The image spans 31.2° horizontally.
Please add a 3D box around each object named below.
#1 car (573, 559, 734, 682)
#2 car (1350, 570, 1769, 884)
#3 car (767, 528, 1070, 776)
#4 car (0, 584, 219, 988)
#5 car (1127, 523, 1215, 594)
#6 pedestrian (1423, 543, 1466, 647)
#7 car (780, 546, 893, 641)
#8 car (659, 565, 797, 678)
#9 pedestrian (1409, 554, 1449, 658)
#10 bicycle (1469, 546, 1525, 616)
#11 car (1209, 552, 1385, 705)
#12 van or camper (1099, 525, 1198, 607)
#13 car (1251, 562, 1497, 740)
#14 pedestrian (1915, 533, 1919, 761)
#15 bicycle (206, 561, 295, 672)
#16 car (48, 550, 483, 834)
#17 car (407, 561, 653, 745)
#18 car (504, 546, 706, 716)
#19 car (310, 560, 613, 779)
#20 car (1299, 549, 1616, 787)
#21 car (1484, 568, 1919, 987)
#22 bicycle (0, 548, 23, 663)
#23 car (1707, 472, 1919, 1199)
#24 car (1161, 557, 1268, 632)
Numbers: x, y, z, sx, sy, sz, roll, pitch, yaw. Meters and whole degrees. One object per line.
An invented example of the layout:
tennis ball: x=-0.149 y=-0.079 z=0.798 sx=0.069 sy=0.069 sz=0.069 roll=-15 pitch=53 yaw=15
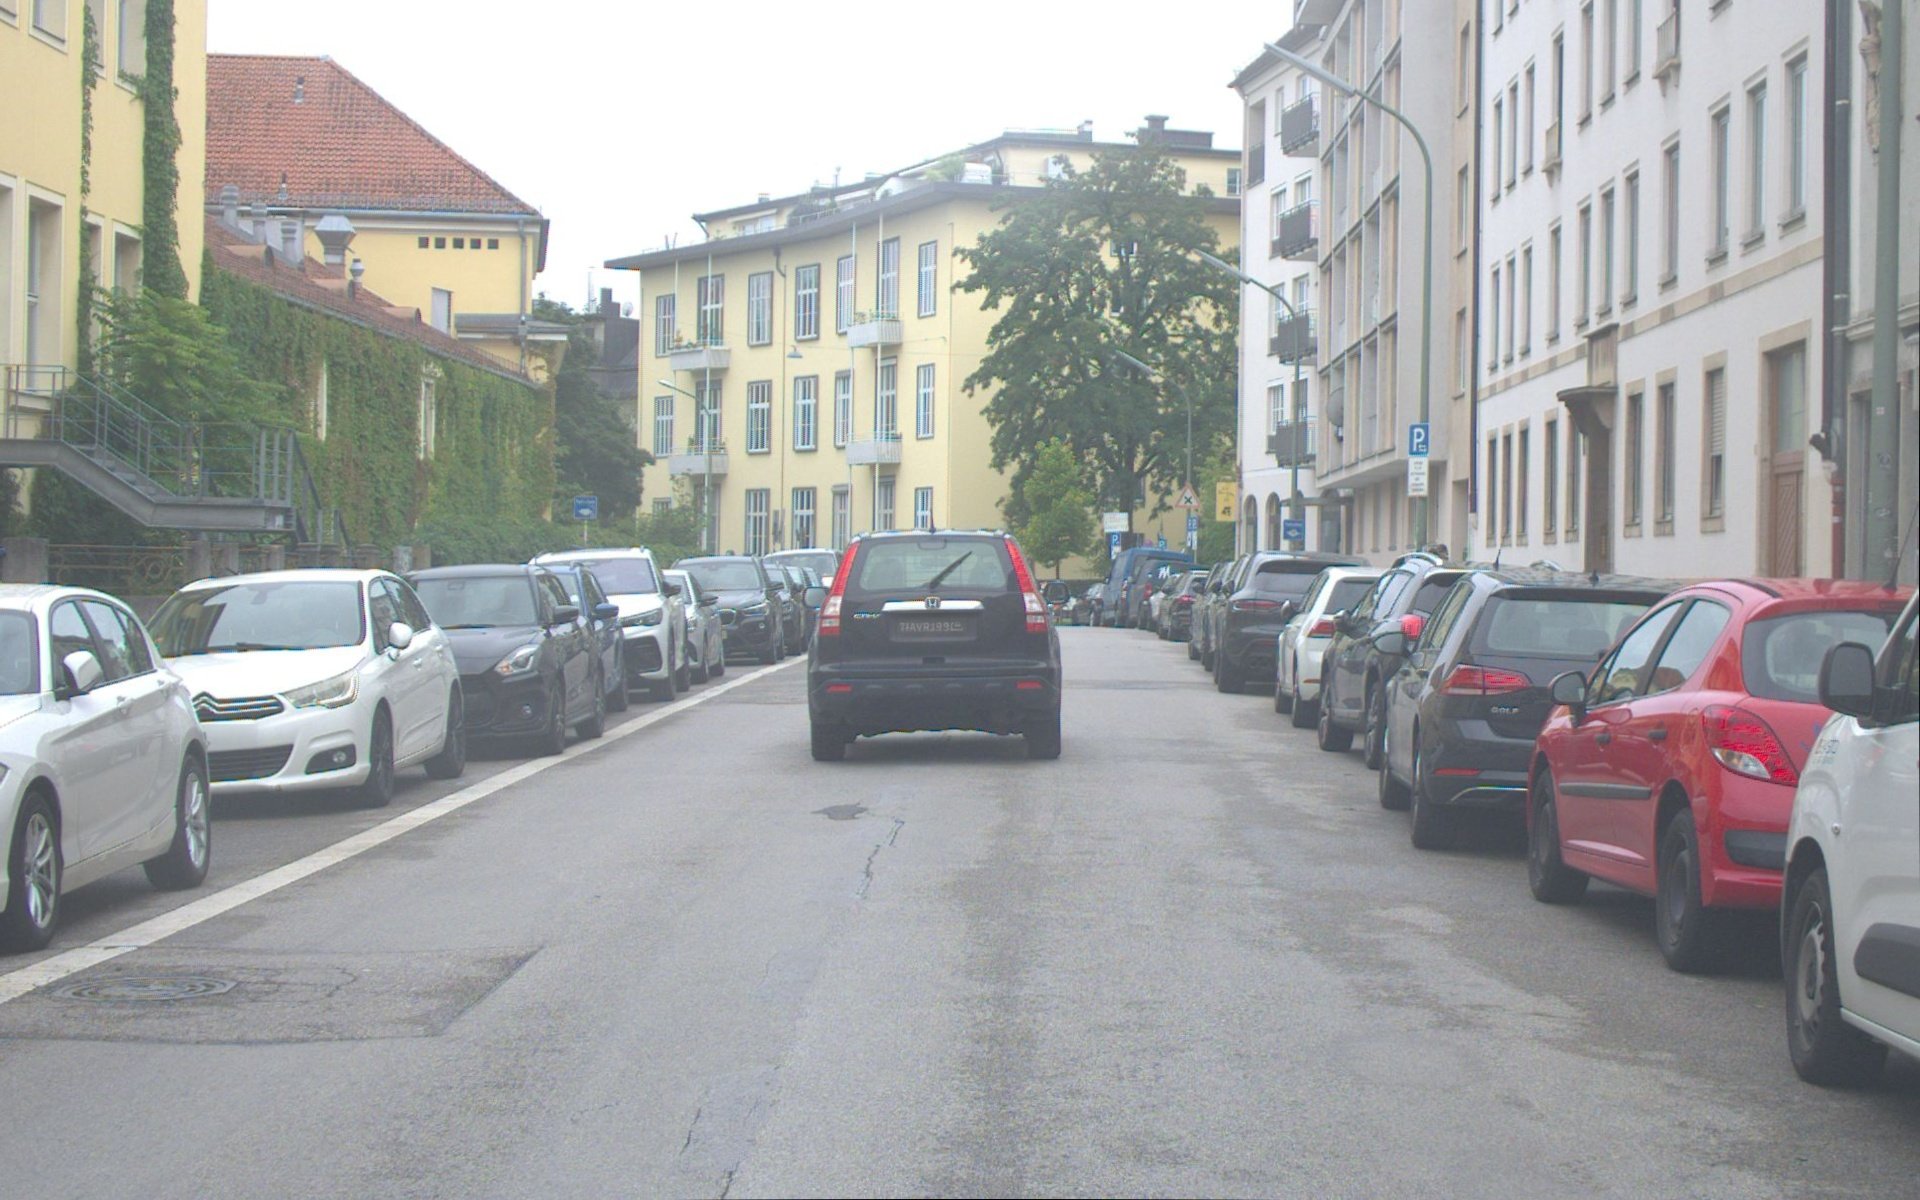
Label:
car: x=-3.763 y=0.220 z=42.732 sx=1.680 sy=1.421 sz=3.895 roll=0 pitch=1 yaw=-1
car: x=3.174 y=0.604 z=18.926 sx=1.692 sy=1.446 sz=4.083 roll=2 pitch=1 yaw=2
car: x=-0.219 y=0.327 z=25.859 sx=1.995 sy=1.688 sz=4.380 roll=1 pitch=1 yaw=3
car: x=-4.348 y=0.704 z=14.252 sx=1.675 sy=1.393 sz=3.997 roll=-3 pitch=1 yaw=-1
car: x=5.584 y=-1.127 z=91.512 sx=1.964 sy=1.810 sz=4.936 roll=-1 pitch=1 yaw=-1
pedestrian: x=7.749 y=-0.083 z=55.017 sx=0.596 sy=1.648 sz=0.630 roll=1 pitch=1 yaw=2
car: x=-2.561 y=-0.176 z=72.210 sx=1.994 sy=1.869 sz=4.758 roll=-1 pitch=1 yaw=2
car: x=-3.380 y=0.287 z=50.618 sx=1.781 sy=1.532 sz=4.195 roll=0 pitch=1 yaw=-1
pedestrian: x=7.177 y=0.084 z=52.674 sx=0.531 sy=1.579 sz=0.560 roll=1 pitch=1 yaw=2
bicycle: x=9.100 y=-0.330 z=58.331 sx=0.659 sy=1.159 sz=2.028 roll=-1 pitch=1 yaw=2
car: x=3.717 y=0.272 z=38.510 sx=1.778 sy=1.579 sz=4.329 roll=0 pitch=1 yaw=3
van or camper: x=5.277 y=-0.973 z=97.068 sx=2.060 sy=2.223 sz=5.439 roll=1 pitch=1 yaw=-5
car: x=3.766 y=0.419 z=31.893 sx=1.692 sy=1.459 sz=4.083 roll=2 pitch=1 yaw=-1
pedestrian: x=6.513 y=0.378 z=21.691 sx=0.734 sy=1.620 sz=0.828 roll=-1 pitch=1 yaw=2
bicycle: x=-7.923 y=0.172 z=38.453 sx=0.577 sy=1.185 sz=1.562 roll=2 pitch=1 yaw=2
car: x=-4.293 y=0.503 z=21.885 sx=1.723 sy=1.522 sz=4.087 roll=-3 pitch=1 yaw=2
car: x=-3.980 y=0.449 z=32.402 sx=1.680 sy=1.500 sz=3.974 roll=-3 pitch=1 yaw=1
car: x=-3.769 y=0.283 z=37.115 sx=1.680 sy=1.628 sz=4.357 roll=-3 pitch=1 yaw=0
car: x=-3.871 y=0.492 z=27.300 sx=1.680 sy=1.490 sz=3.986 roll=-3 pitch=1 yaw=1
car: x=3.659 y=0.445 z=25.924 sx=1.692 sy=1.578 sz=4.083 roll=2 pitch=1 yaw=-1
car: x=3.313 y=0.600 z=14.162 sx=1.598 sy=1.446 sz=4.302 roll=0 pitch=1 yaw=-1
bicycle: x=-10.691 y=0.023 z=35.998 sx=1.556 sy=1.185 sz=0.578 roll=2 pitch=1 yaw=0
car: x=3.282 y=0.608 z=8.518 sx=1.841 sy=1.779 sz=4.895 roll=2 pitch=1 yaw=2
car: x=5.146 y=-0.133 z=69.879 sx=1.796 sy=1.416 sz=4.483 roll=-2 pitch=1 yaw=0
